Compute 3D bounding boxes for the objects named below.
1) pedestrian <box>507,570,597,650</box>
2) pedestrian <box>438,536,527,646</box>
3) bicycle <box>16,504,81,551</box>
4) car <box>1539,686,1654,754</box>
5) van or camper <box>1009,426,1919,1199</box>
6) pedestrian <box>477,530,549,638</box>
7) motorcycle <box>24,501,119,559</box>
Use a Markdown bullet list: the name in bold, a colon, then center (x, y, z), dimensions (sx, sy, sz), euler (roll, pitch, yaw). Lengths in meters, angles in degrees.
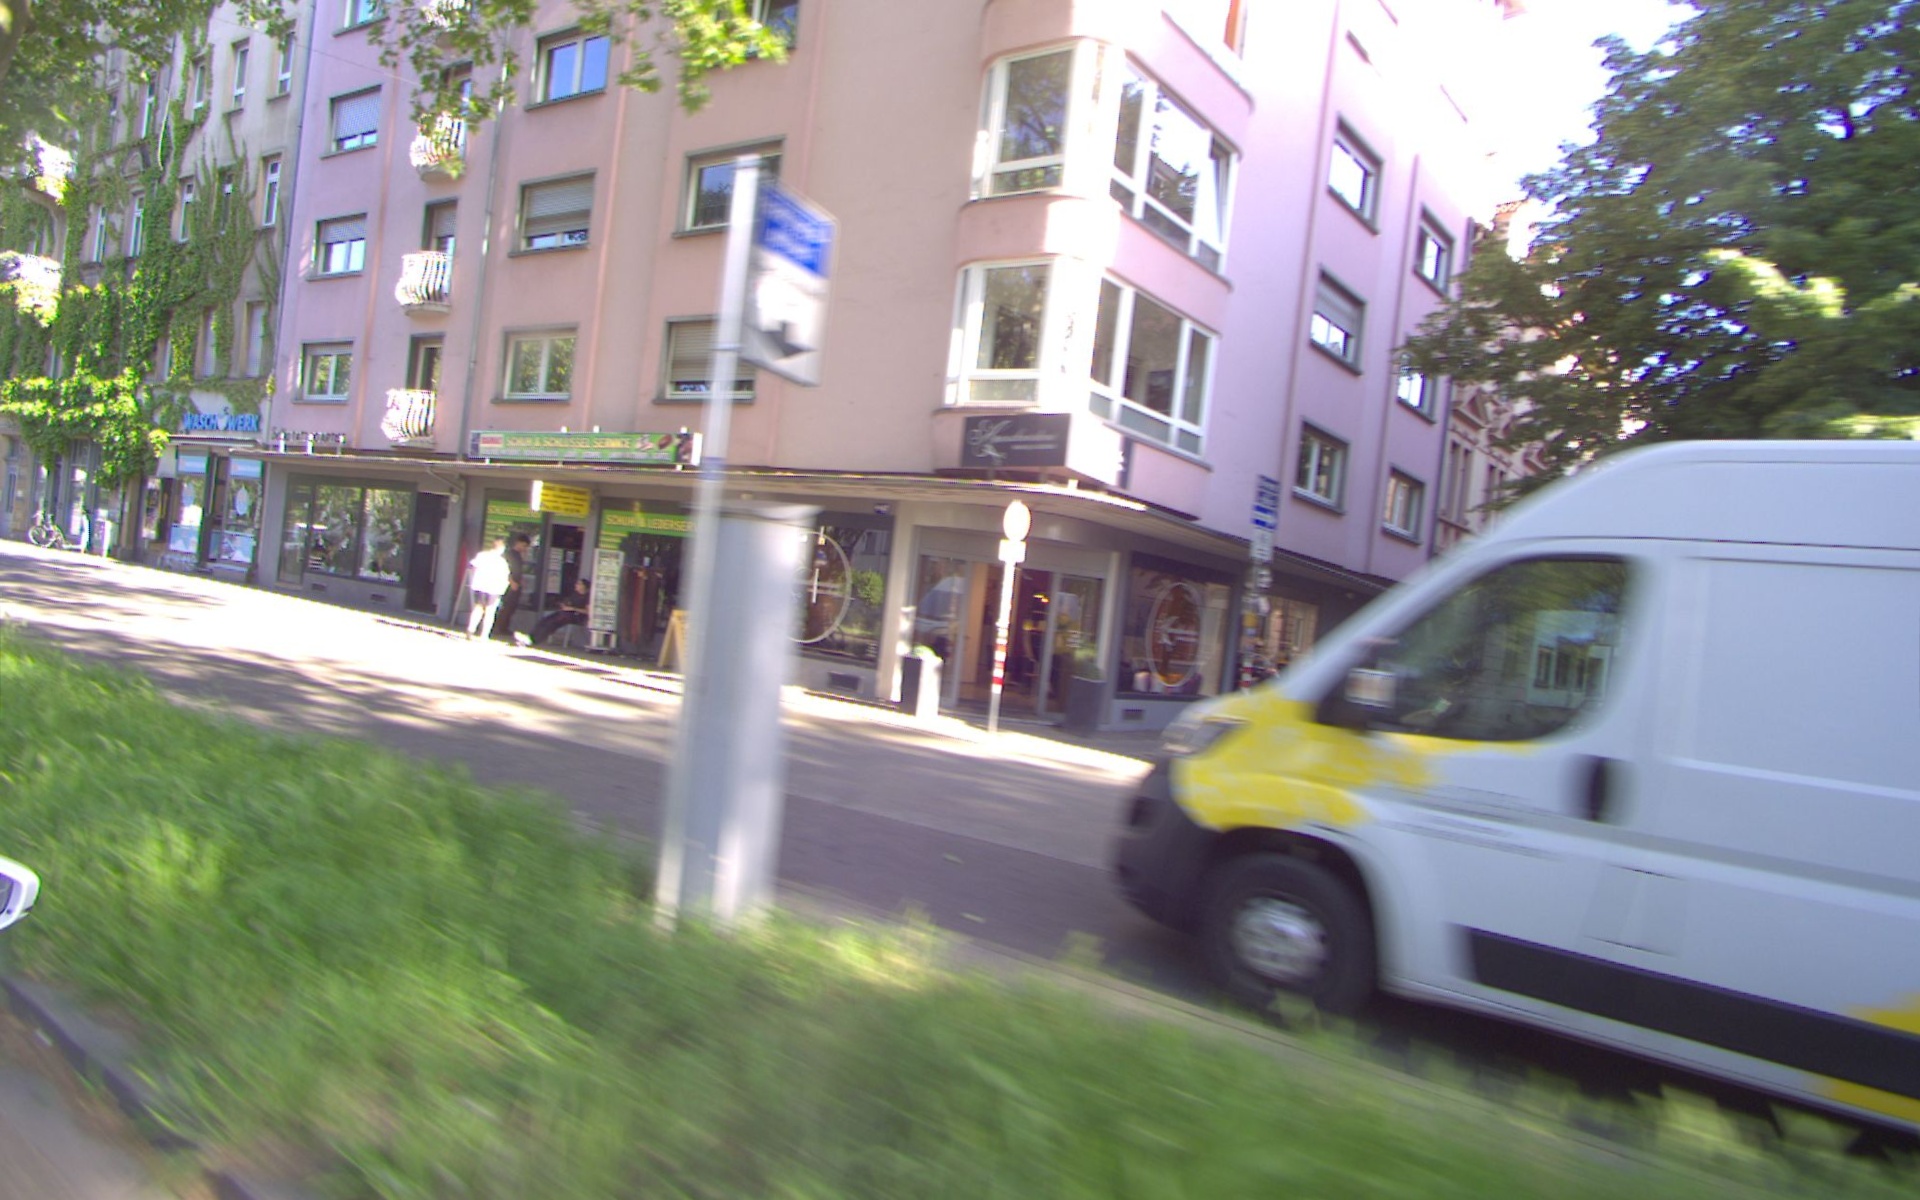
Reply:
- **pedestrian**: center (-7.160, 0.188, 17.697), dimensions (0.736, 1.271, 1.144), euler (7, 0, 31)
- **pedestrian**: center (-8.111, -0.142, 17.106), dimensions (0.799, 1.730, 0.924), euler (7, 1, 32)
- **bicycle**: center (-27.199, -2.179, 29.999), dimensions (2.361, 1.148, 0.887), euler (7, 0, 35)
- **car**: center (18.606, 3.489, 29.323), dimensions (1.973, 1.549, 4.258), euler (7, 0, 43)
- **van or camper**: center (3.523, 0.860, 3.843), dimensions (6.166, 2.508, 2.188), euler (7, -2, 33)
- **pedestrian**: center (-8.191, -0.289, 18.447), dimensions (0.798, 1.843, 0.686), euler (7, 1, 30)
- **motorcycle**: center (-25.384, -1.993, 28.769), dimensions (1.865, 1.282, 0.558), euler (9, -2, -13)
